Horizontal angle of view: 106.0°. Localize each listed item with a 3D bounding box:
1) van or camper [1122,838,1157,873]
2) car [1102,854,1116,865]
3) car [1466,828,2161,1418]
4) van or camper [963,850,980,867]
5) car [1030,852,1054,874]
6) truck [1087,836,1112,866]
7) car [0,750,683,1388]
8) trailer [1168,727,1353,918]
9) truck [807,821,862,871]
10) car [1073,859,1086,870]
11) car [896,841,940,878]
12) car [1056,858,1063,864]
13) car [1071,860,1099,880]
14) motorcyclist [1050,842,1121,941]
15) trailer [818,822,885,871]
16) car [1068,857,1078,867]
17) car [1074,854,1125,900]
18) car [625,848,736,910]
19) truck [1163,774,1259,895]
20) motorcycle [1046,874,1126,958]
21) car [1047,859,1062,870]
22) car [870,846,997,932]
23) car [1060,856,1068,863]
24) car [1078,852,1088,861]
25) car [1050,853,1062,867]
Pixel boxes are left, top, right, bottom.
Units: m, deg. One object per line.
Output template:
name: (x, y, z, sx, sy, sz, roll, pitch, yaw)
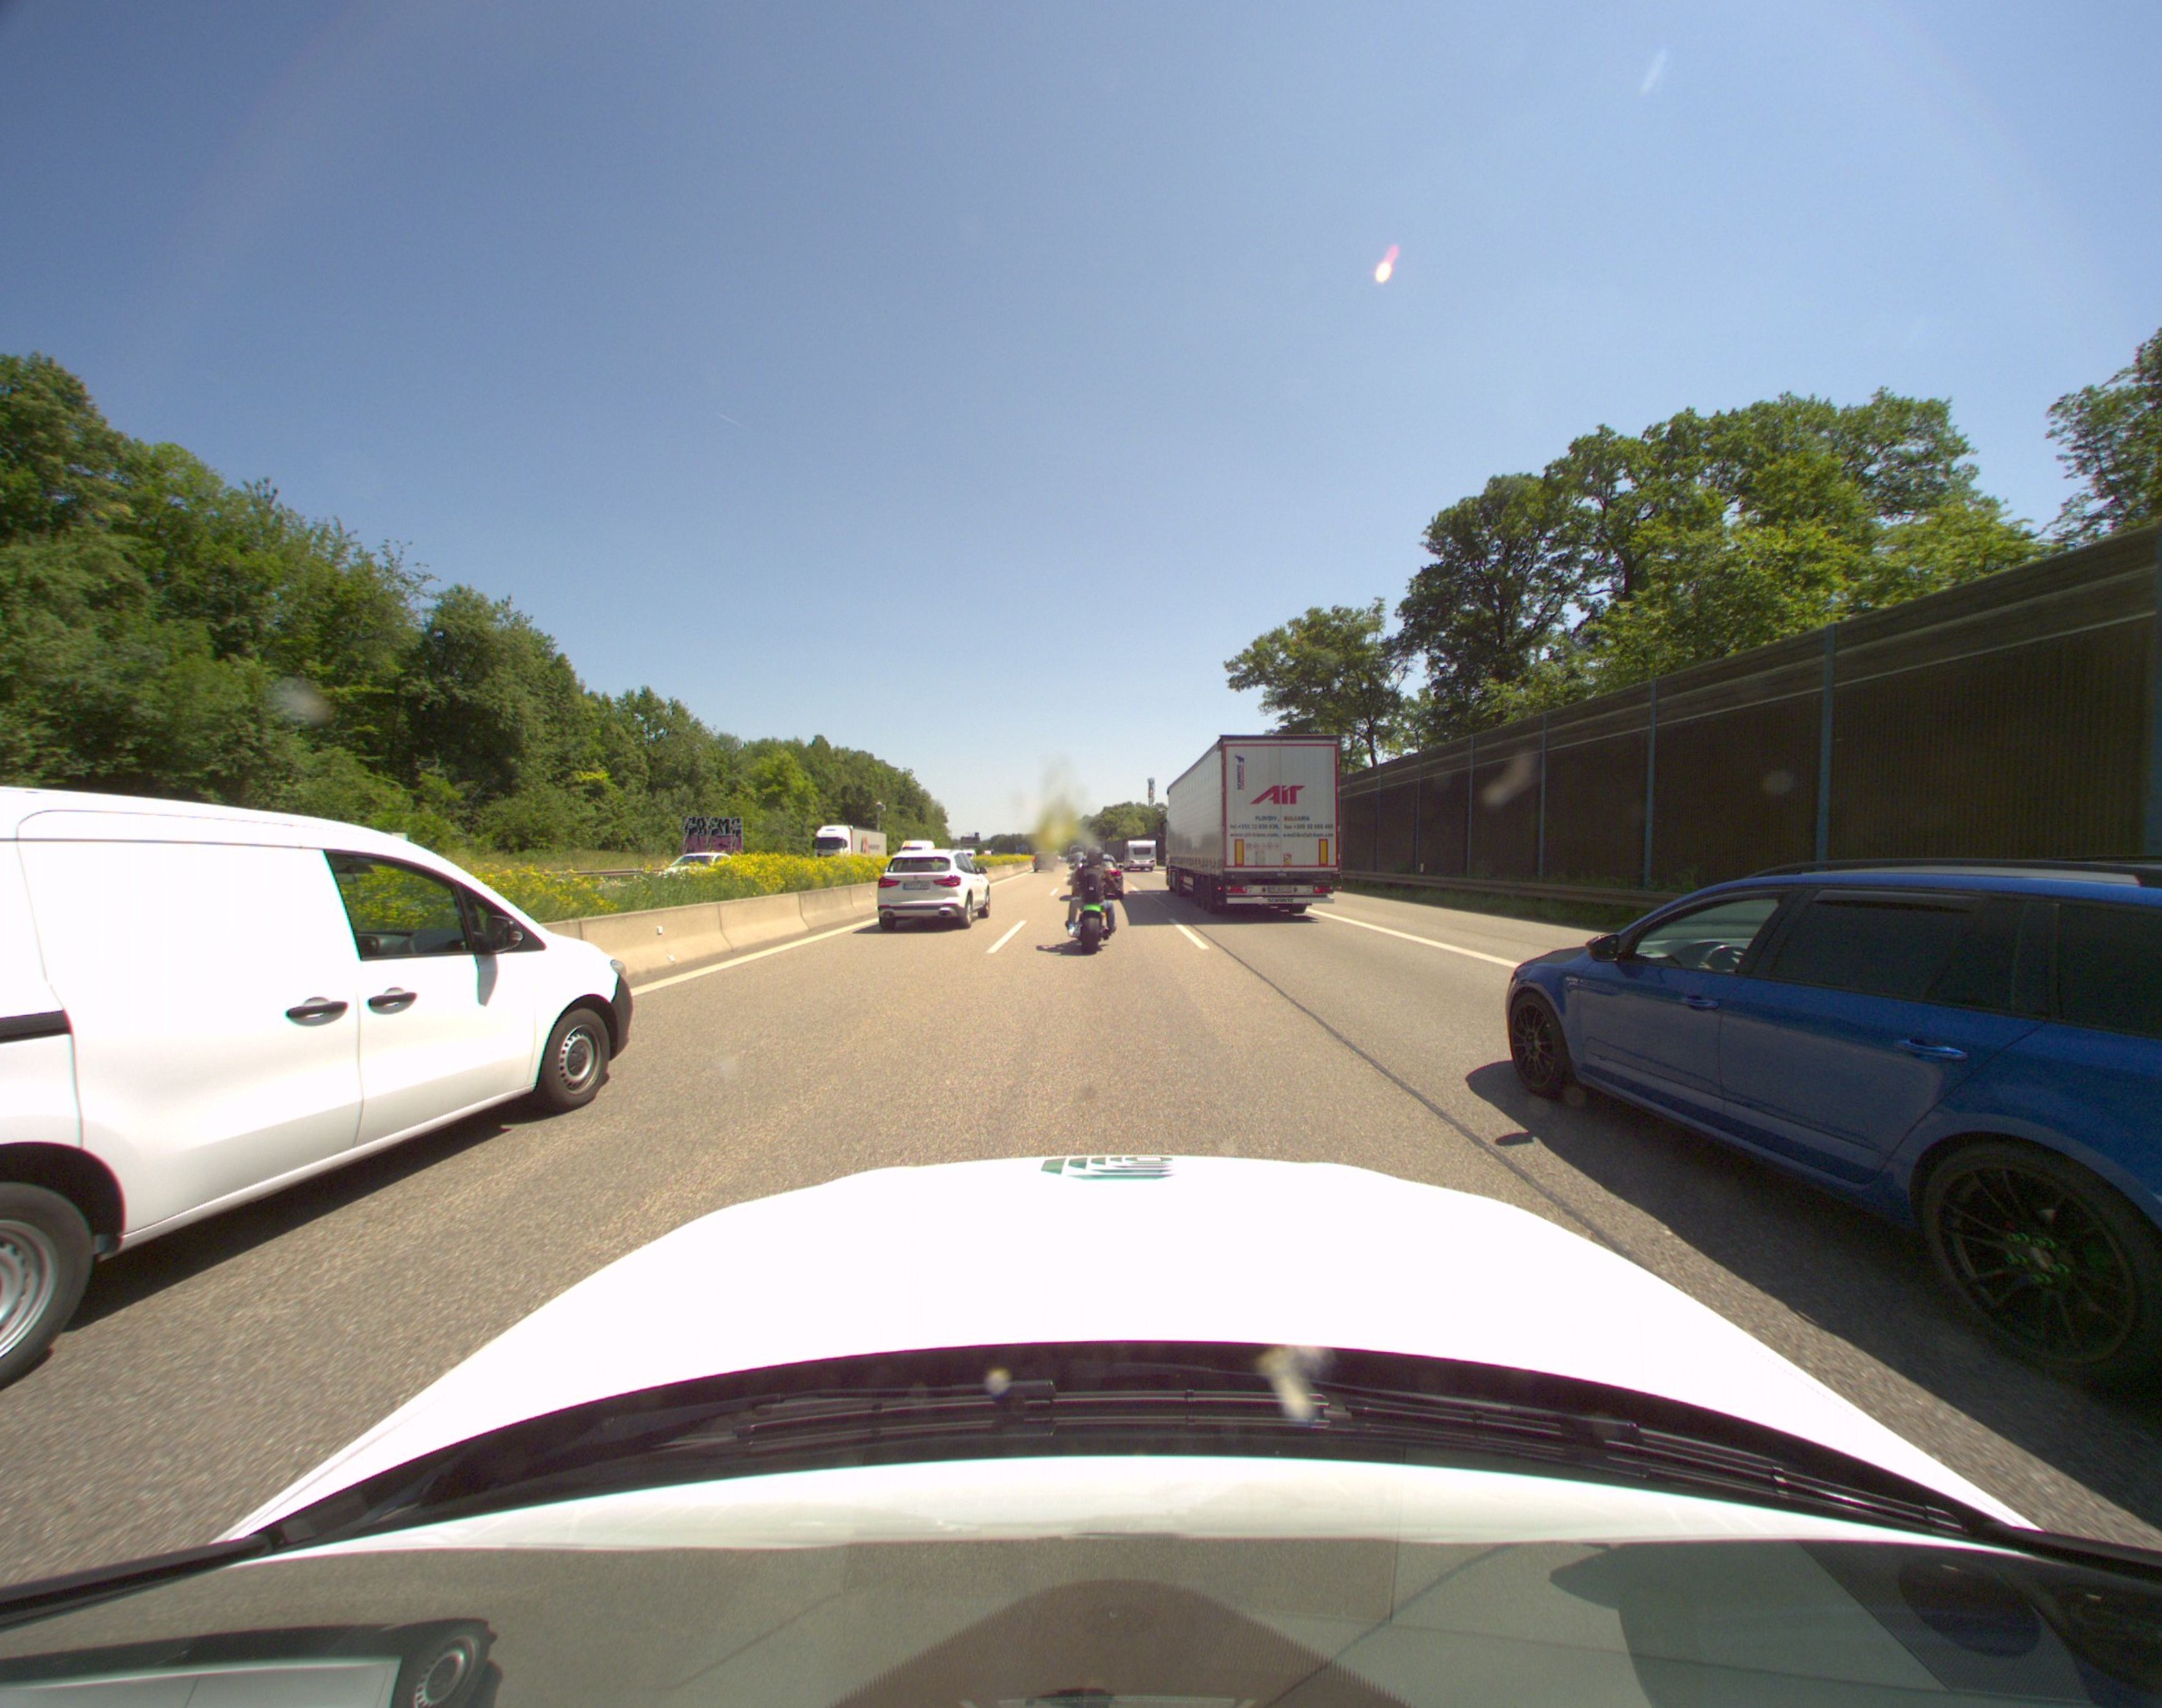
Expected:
van or camper: (4.939, 0.177, 70.179, 2.675, 2.813, 6.804, -1, -1, 1)
car: (4.334, 0.823, 125.051, 1.987, 1.574, 3.999, -1, -1, 0)
car: (3.566, 0.701, 3.621, 1.645, 1.483, 4.482, -1, -1, 1)
van or camper: (-18.586, 0.785, 138.631, 2.079, 2.701, 6.150, -1, 0, -1)
car: (-3.510, 0.811, 73.323, 1.893, 1.874, 4.411, -1, -1, 0)
truck: (3.223, -0.461, 144.187, 3.794, 4.960, 8.940, -1, -1, -3)
car: (-3.930, 0.630, 3.811, 1.759, 1.813, 4.674, -1, 0, 1)
trailer: (4.573, -0.642, 24.291, 2.875, 4.038, 13.800, -1, 0, 2)
truck: (-21.519, -0.613, 71.463, 2.955, 4.107, 6.086, -1, -1, 0)
car: (-0.296, 1.631, 128.995, 1.988, 1.640, 3.997, -1, -1, -2)
car: (-13.503, 0.451, 67.951, 2.061, 2.896, 7.462, -1, 0, 1)
car: (-5.828, 1.797, 220.374, 1.828, 1.496, 3.739, -1, -1, -3)
car: (0.292, 1.210, 61.286, 1.987, 1.430, 3.847, -1, -1, 0)
motorcyclist: (0.110, 0.586, 13.149, 0.895, 1.475, 1.876, -1, -1, 7)
trailer: (-21.614, -0.560, 77.585, 2.918, 4.232, 13.056, -1, -1, -1)
car: (-1.613, 1.601, 160.001, 1.907, 2.014, 3.687, -1, -1, -2)
car: (0.649, 0.791, 28.470, 1.656, 1.453, 3.870, -1, -1, 1)
car: (-13.866, 0.852, 28.449, 1.872, 2.014, 3.999, -1, -1, 0)
truck: (4.800, -0.663, 31.171, 2.875, 4.146, 5.988, -1, 0, 2)
motorcycle: (0.153, 0.932, 13.225, 0.959, 1.148, 2.817, 0, 0, 7)
car: (-3.520, 1.464, 109.078, 1.988, 1.387, 3.998, -1, -1, -1)
car: (-3.166, 0.707, 18.581, 1.857, 1.694, 4.957, -1, 0, 1)
car: (-3.796, 1.180, 183.517, 1.828, 1.496, 3.739, -1, -1, -3)
car: (0.430, 0.575, 194.163, 2.103, 1.876, 3.996, -1, -1, -3)
car: (-3.951, 0.950, 128.617, 1.785, 2.014, 3.642, -1, -1, 1)
